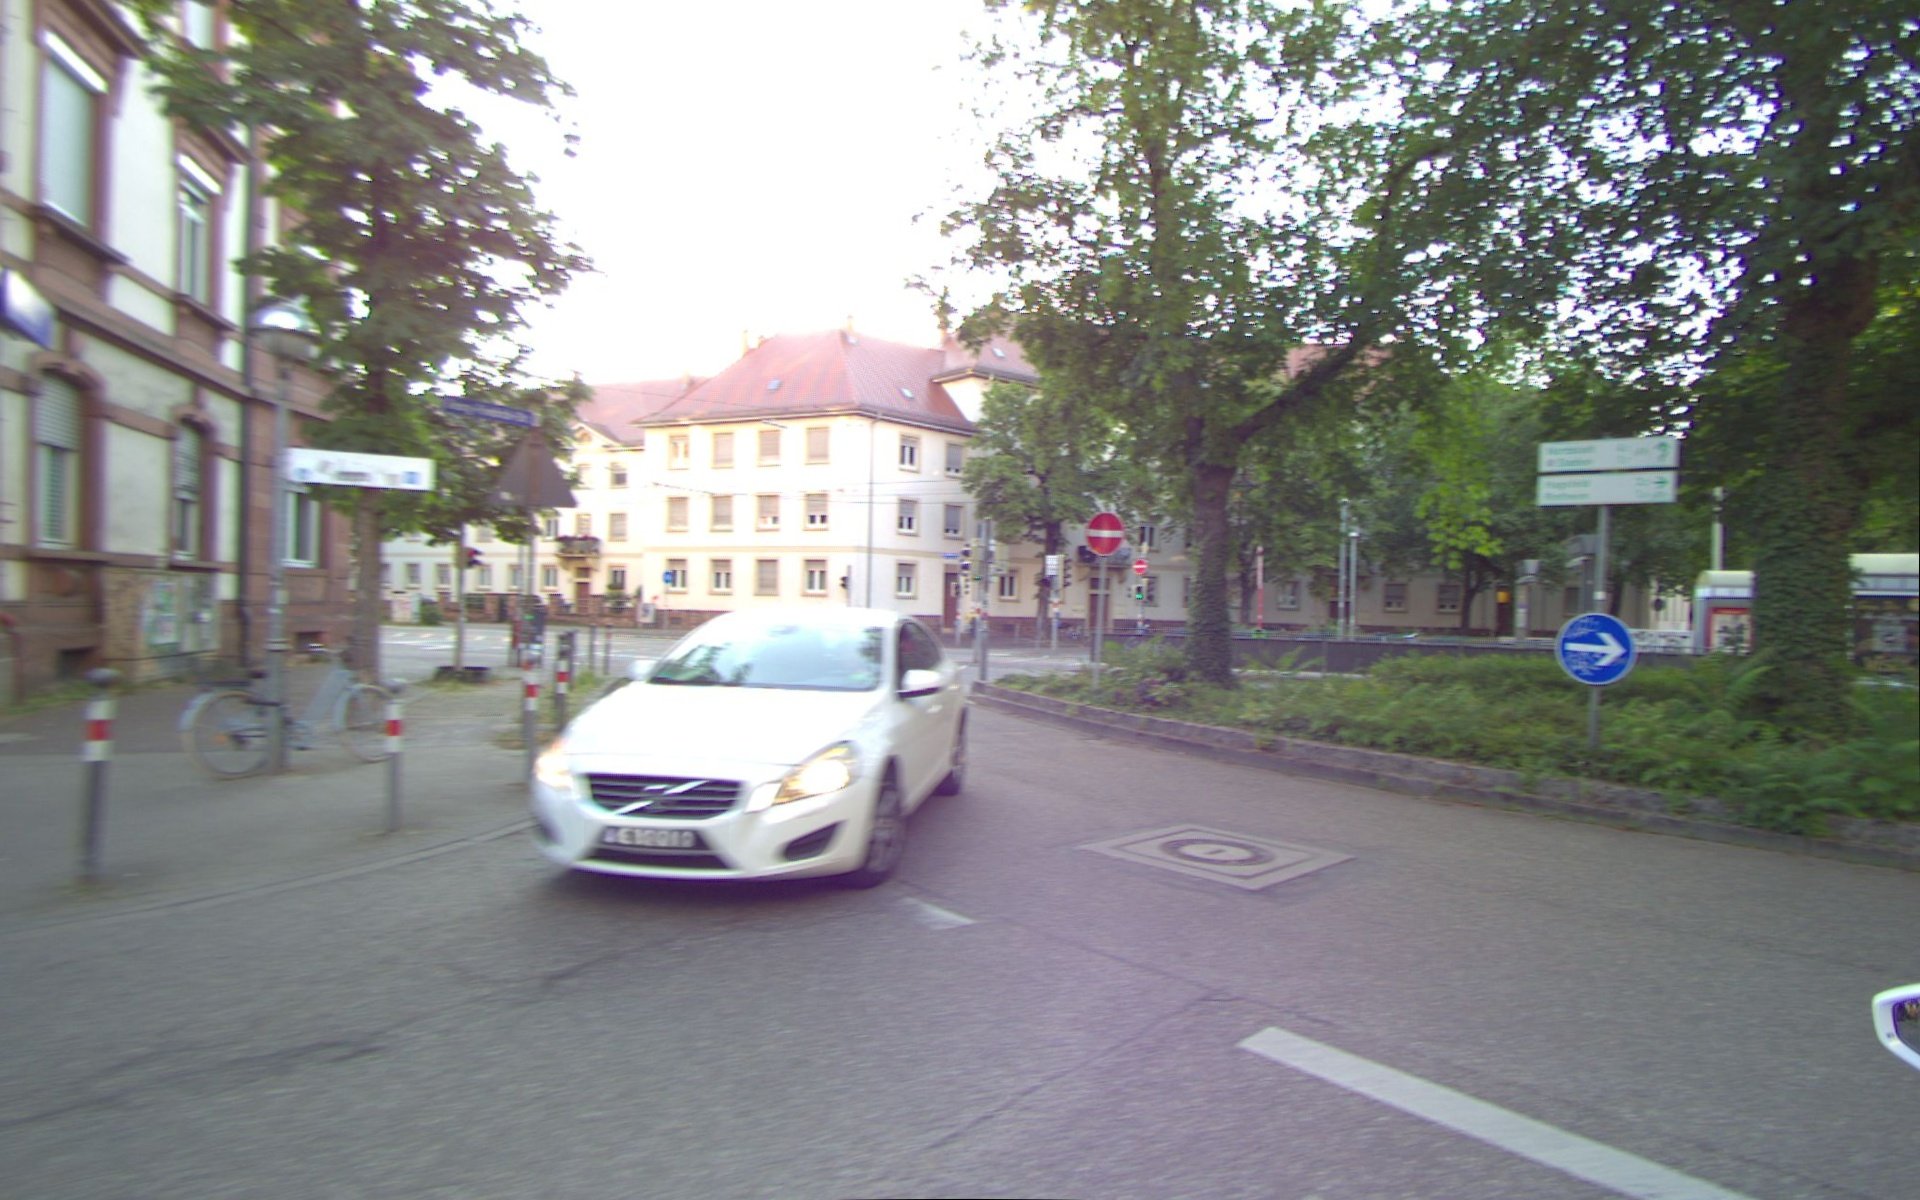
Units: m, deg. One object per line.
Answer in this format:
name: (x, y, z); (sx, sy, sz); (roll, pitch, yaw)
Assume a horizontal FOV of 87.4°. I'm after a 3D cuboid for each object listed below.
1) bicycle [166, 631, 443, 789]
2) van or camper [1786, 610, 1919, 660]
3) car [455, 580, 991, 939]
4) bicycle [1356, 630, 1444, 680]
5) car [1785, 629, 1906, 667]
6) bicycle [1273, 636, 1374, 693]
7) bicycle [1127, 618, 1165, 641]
bicycle: (-5.235, 0.821, 8.151); (0.551, 1.097, 1.794); (3, 0, 32)
van or camper: (64.056, 2.465, 72.033); (7.280, 3.124, 2.660); (3, 1, 41)
car: (-1.030, 0.725, 6.934); (1.959, 1.537, 4.844); (1, 0, 8)
bicycle: (10.061, 1.250, 23.016); (1.820, 1.065, 0.546); (1, 0, 24)
car: (48.709, 2.598, 55.406); (4.893, 1.726, 1.990); (3, 1, 41)
bicycle: (8.136, 1.423, 22.497); (2.074, 1.167, 0.686); (1, 0, 22)
bicycle: (10.017, 1.596, 54.069); (1.885, 1.167, 0.685); (1, 0, -11)
